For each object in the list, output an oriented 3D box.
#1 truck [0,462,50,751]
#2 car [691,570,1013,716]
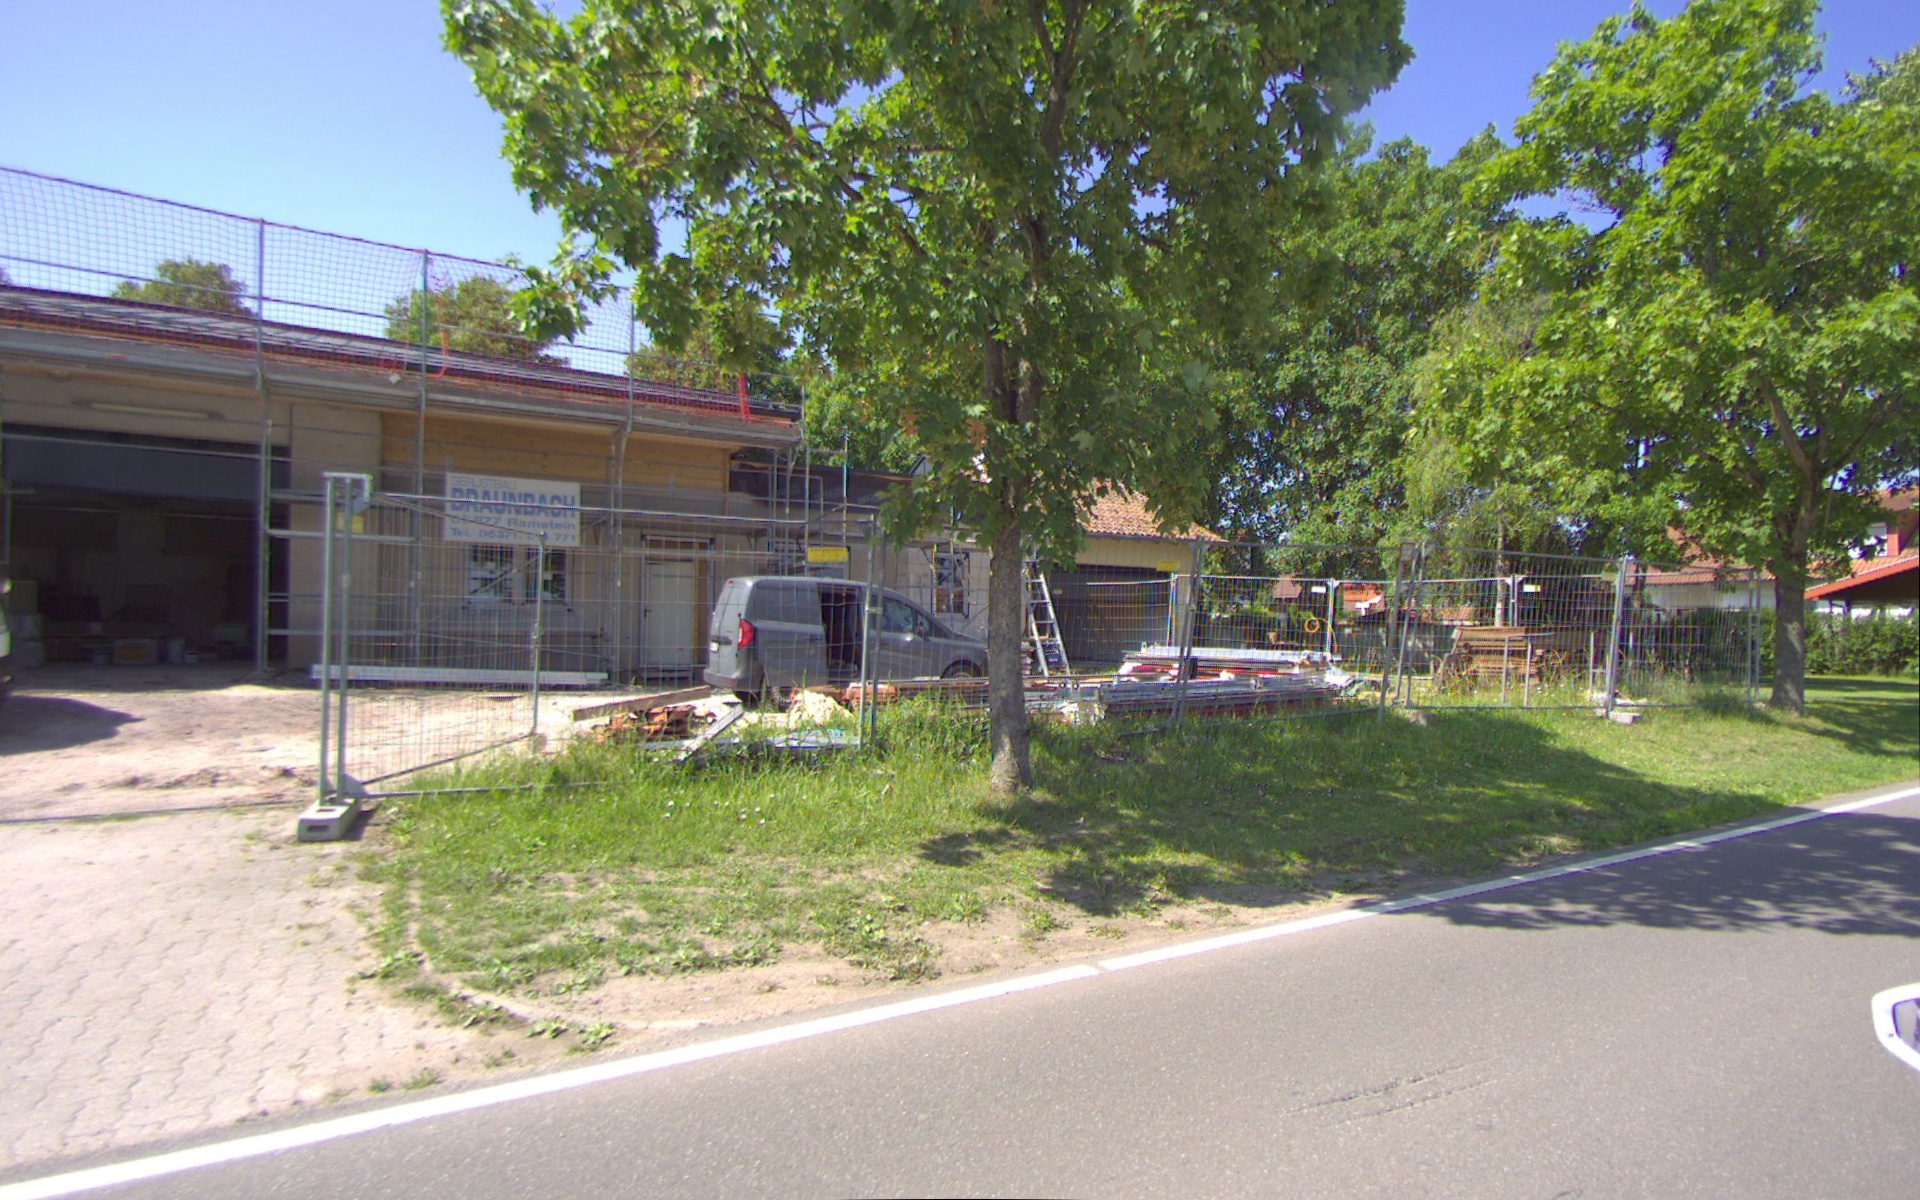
[{"bbox_3d":[-11.296,-0.130,9.280,5.818,2.516,1.999,4,0,24],"label":"truck"},{"bbox_3d":[-1.547,0.609,14.745,4.278,1.862,1.961,2,-1,-31],"label":"car"}]
